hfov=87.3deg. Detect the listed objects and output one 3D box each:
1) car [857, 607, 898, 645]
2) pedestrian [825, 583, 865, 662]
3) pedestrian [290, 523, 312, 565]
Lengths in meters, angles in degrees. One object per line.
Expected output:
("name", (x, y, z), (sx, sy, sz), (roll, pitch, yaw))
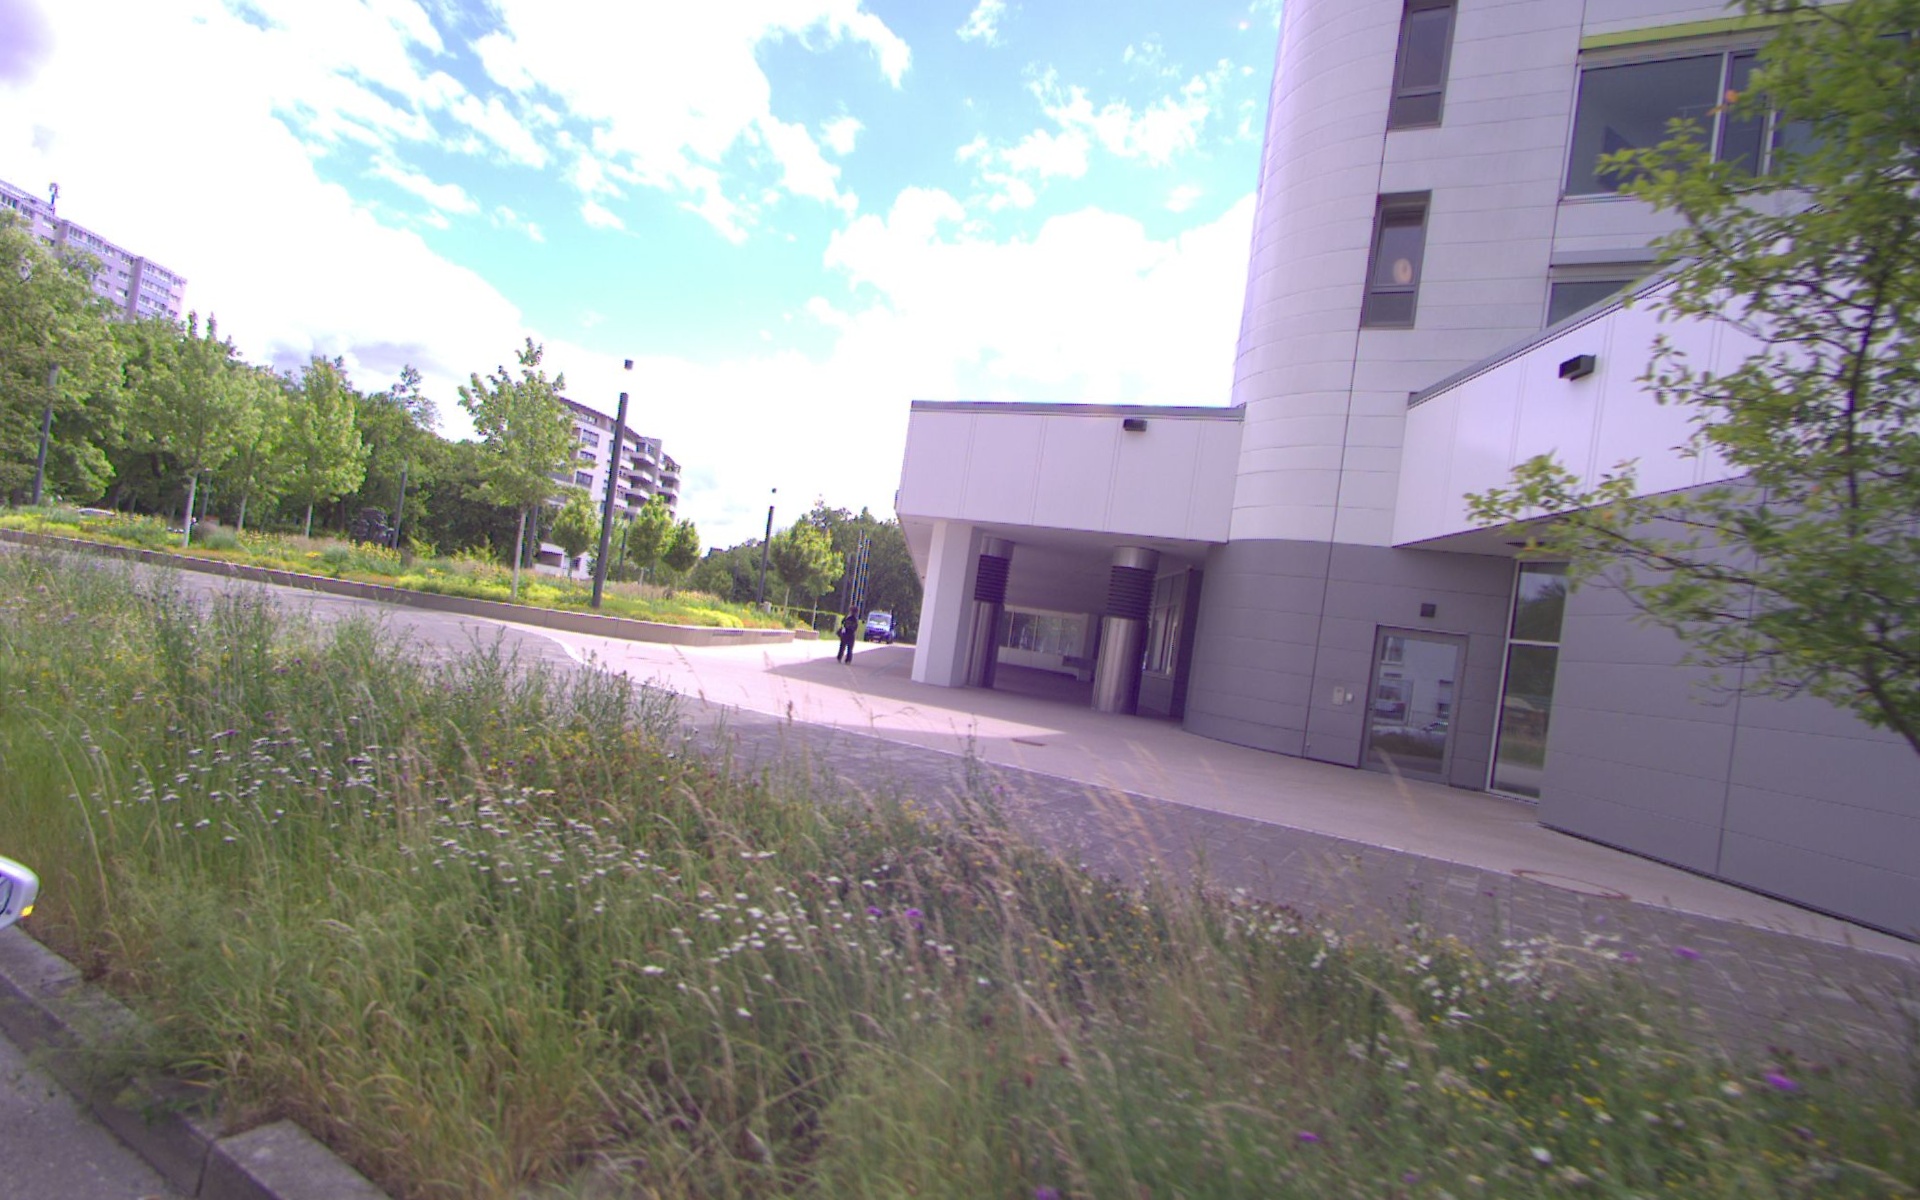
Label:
("car", (-6.315, 2.034, 77.295), (2.406, 2.502, 4.791), (8, -2, 1))
("pedestrian", (-3.107, 0.602, 27.198), (0.685, 2.036, 0.605), (9, -1, -19))
("pedestrian", (-32.816, -2.771, 50.101), (0.399, 1.973, 0.577), (7, -1, 31))
